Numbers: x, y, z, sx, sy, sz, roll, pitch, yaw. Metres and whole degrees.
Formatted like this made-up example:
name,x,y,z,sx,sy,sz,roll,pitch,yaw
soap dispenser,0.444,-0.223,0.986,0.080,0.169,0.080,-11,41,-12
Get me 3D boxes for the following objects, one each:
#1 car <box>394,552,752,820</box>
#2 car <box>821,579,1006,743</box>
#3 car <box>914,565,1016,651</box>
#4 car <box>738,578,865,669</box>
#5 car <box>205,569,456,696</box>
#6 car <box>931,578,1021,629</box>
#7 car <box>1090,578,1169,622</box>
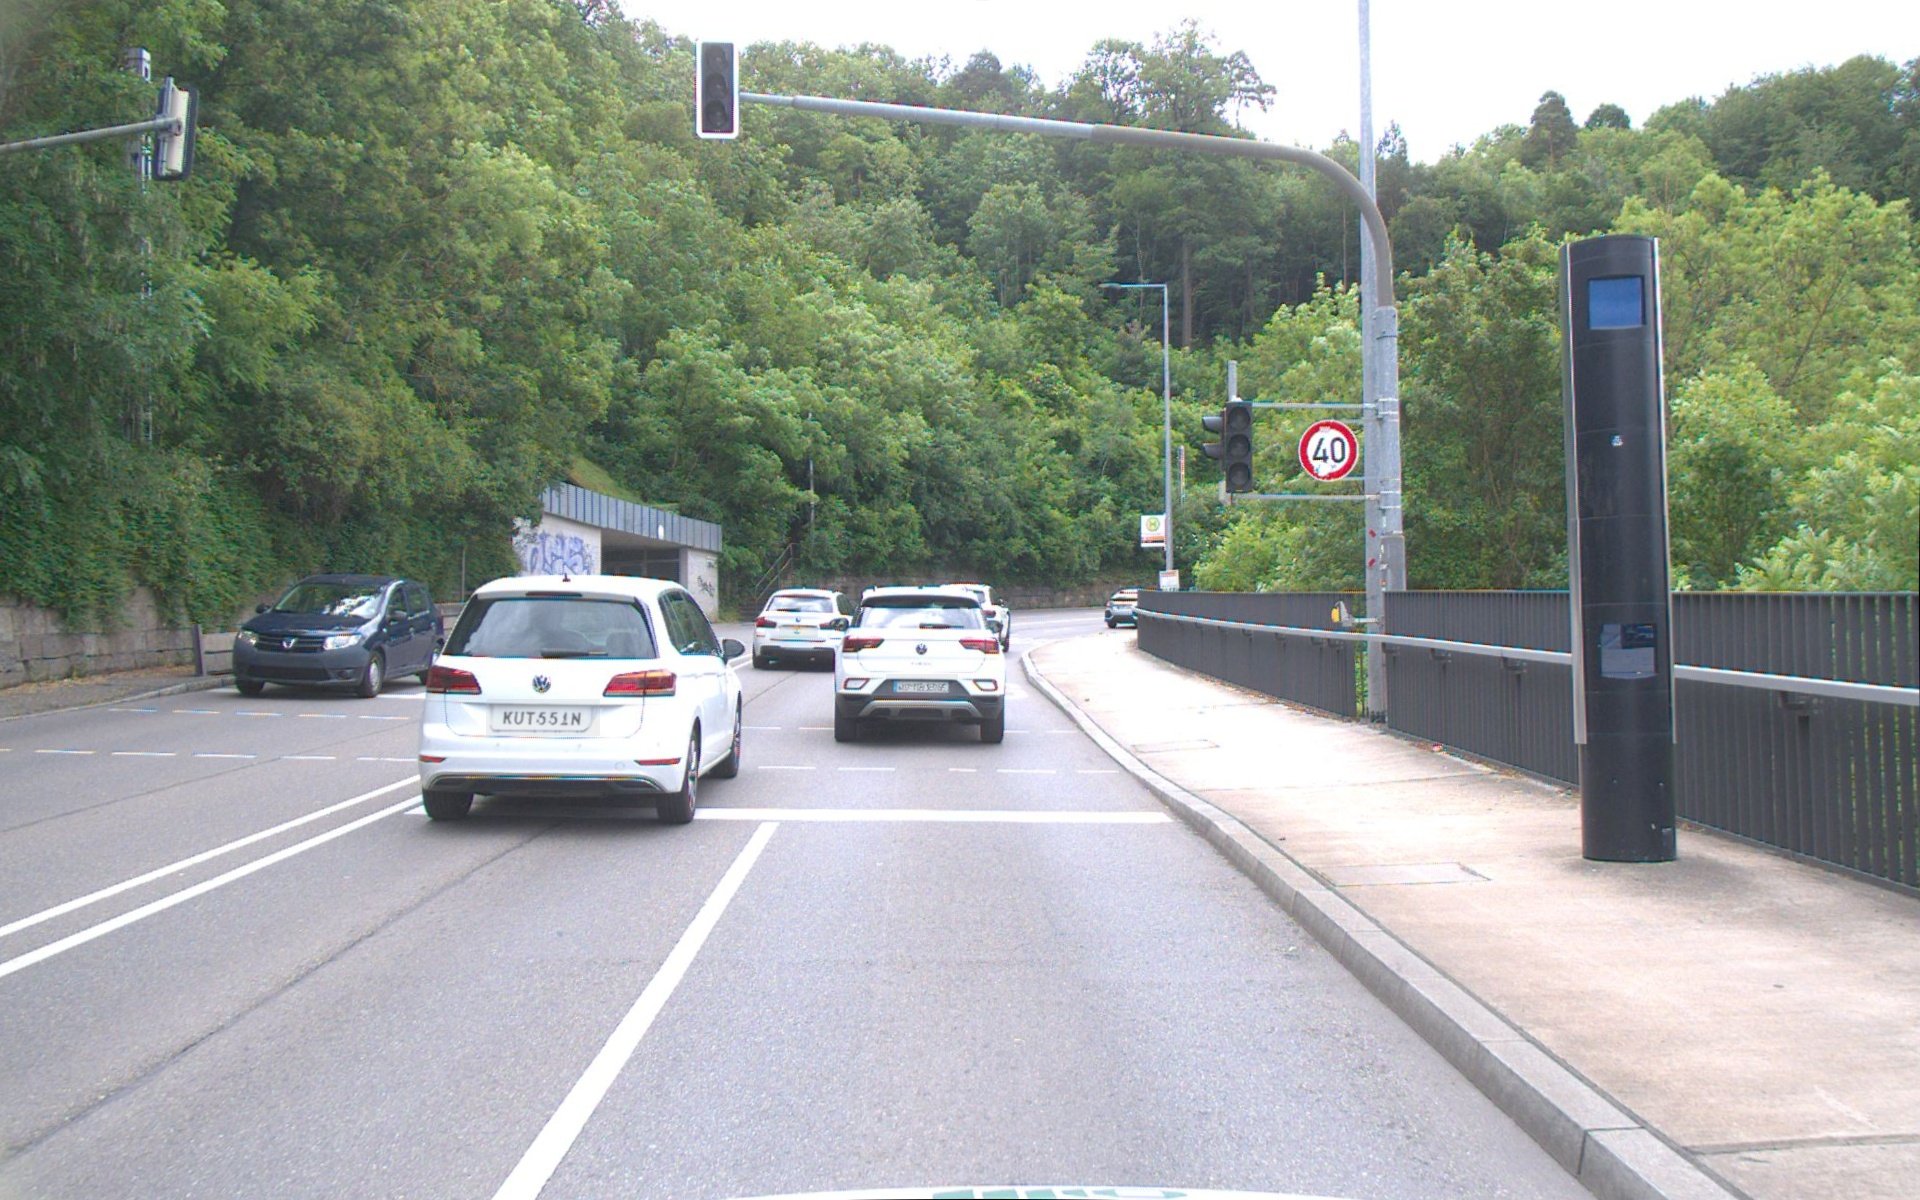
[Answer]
name,x,y,z,sx,sy,sz,roll,pitch,yaw
car,-2.578,0.498,12.014,1.685,1.581,4.274,1,0,-2
car,-0.413,0.590,18.040,1.776,1.566,4.009,-1,0,1
car,0.181,0.186,39.453,1.951,1.875,4.153,2,0,6
car,-2.960,0.399,31.812,1.953,1.585,4.681,1,0,0
car,-8.250,0.390,22.102,1.776,1.459,4.247,2,0,-2
car,0.572,0.131,54.799,1.705,1.545,4.310,2,0,18
car,6.396,0.013,62.142,1.990,1.545,4.202,2,0,19
